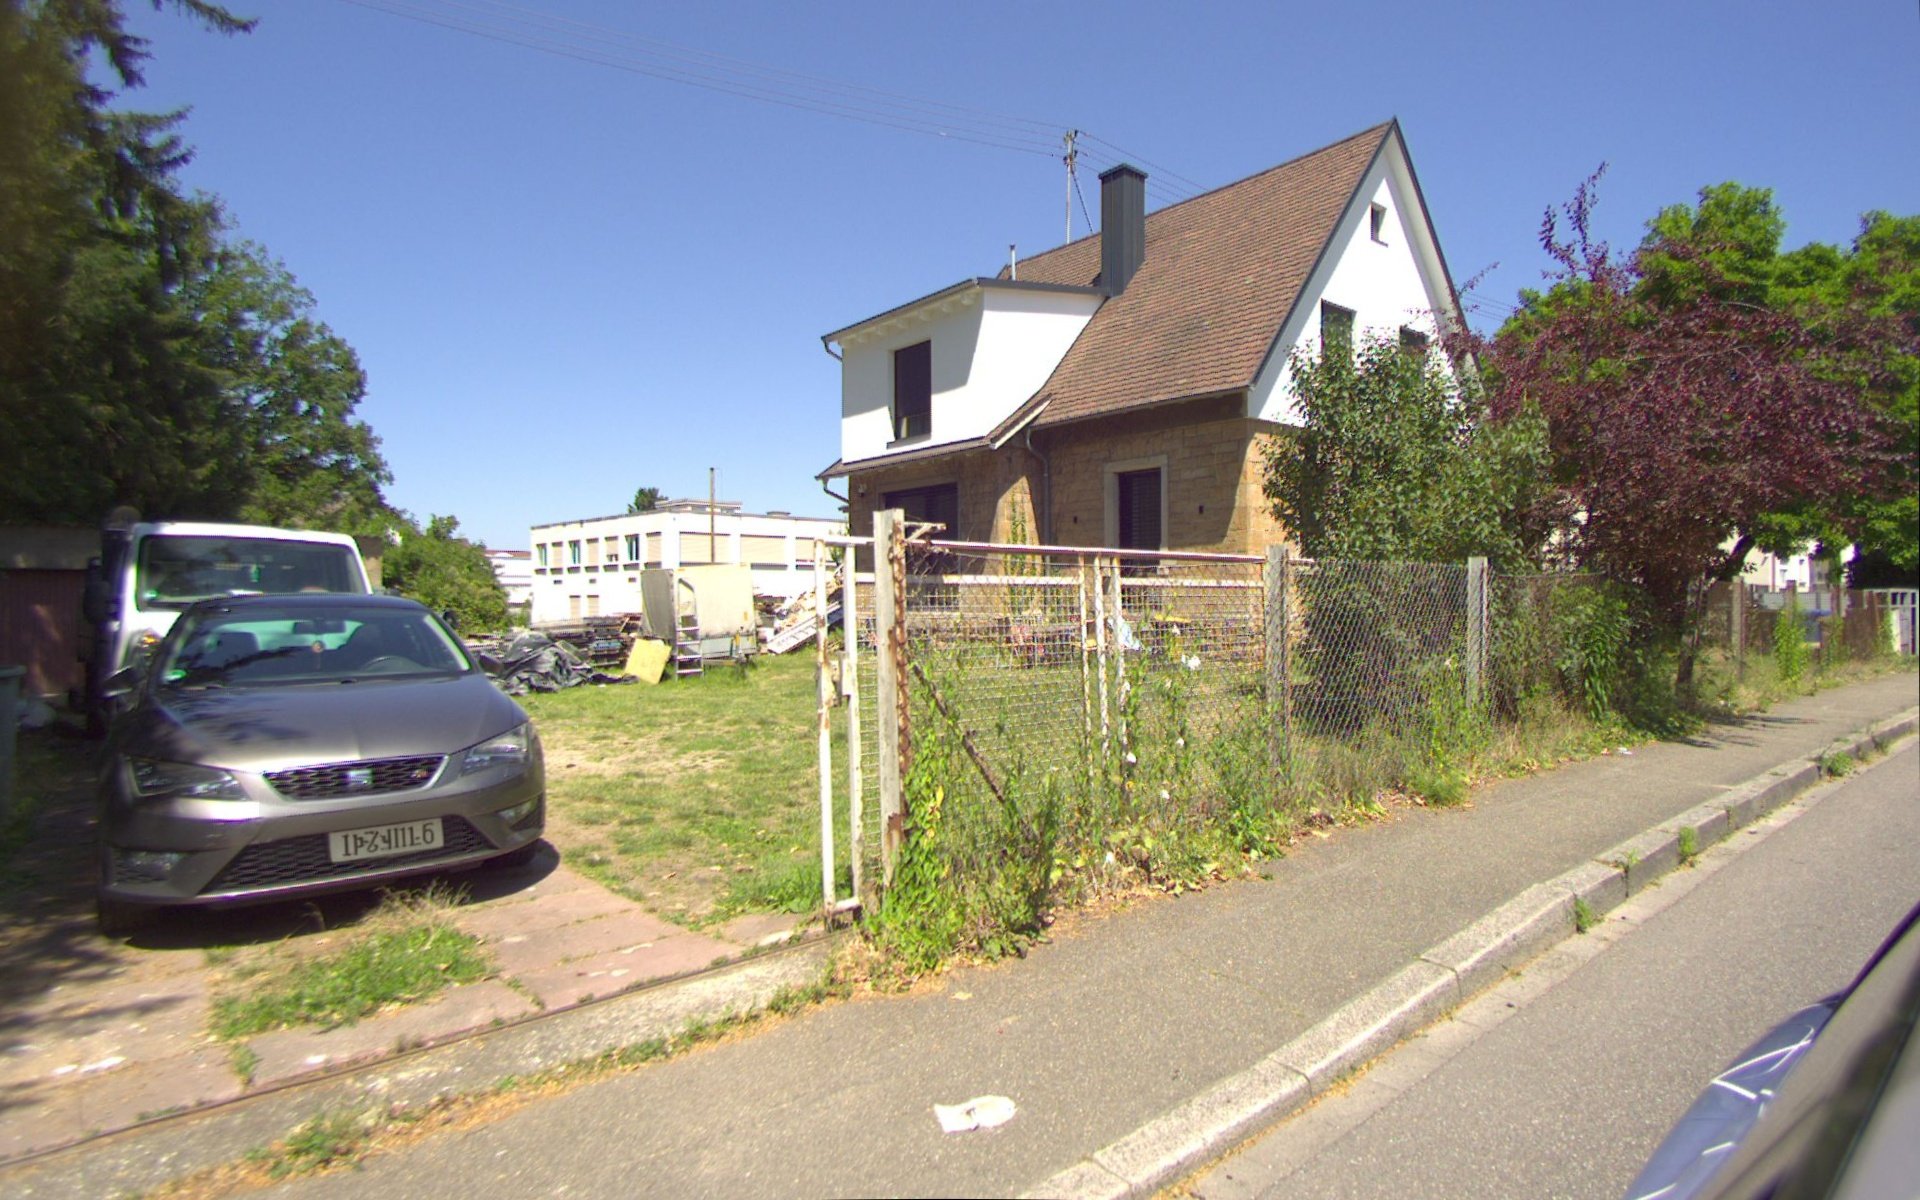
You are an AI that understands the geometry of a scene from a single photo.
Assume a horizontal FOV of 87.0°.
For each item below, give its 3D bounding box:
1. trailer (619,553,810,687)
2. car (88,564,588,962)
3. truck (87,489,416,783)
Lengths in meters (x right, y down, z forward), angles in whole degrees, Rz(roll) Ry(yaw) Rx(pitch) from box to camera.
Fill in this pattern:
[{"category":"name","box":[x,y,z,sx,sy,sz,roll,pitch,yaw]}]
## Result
[{"category":"trailer","box":[-4.485,0.287,18.067,2.043,1.958,4.002,-6,3,-32]},{"category":"car","box":[-3.558,0.576,5.639,1.734,1.398,3.871,0,0,-37]},{"category":"truck","box":[-7.763,0.371,10.685,1.946,2.196,6.615,1,-3,-43]}]
